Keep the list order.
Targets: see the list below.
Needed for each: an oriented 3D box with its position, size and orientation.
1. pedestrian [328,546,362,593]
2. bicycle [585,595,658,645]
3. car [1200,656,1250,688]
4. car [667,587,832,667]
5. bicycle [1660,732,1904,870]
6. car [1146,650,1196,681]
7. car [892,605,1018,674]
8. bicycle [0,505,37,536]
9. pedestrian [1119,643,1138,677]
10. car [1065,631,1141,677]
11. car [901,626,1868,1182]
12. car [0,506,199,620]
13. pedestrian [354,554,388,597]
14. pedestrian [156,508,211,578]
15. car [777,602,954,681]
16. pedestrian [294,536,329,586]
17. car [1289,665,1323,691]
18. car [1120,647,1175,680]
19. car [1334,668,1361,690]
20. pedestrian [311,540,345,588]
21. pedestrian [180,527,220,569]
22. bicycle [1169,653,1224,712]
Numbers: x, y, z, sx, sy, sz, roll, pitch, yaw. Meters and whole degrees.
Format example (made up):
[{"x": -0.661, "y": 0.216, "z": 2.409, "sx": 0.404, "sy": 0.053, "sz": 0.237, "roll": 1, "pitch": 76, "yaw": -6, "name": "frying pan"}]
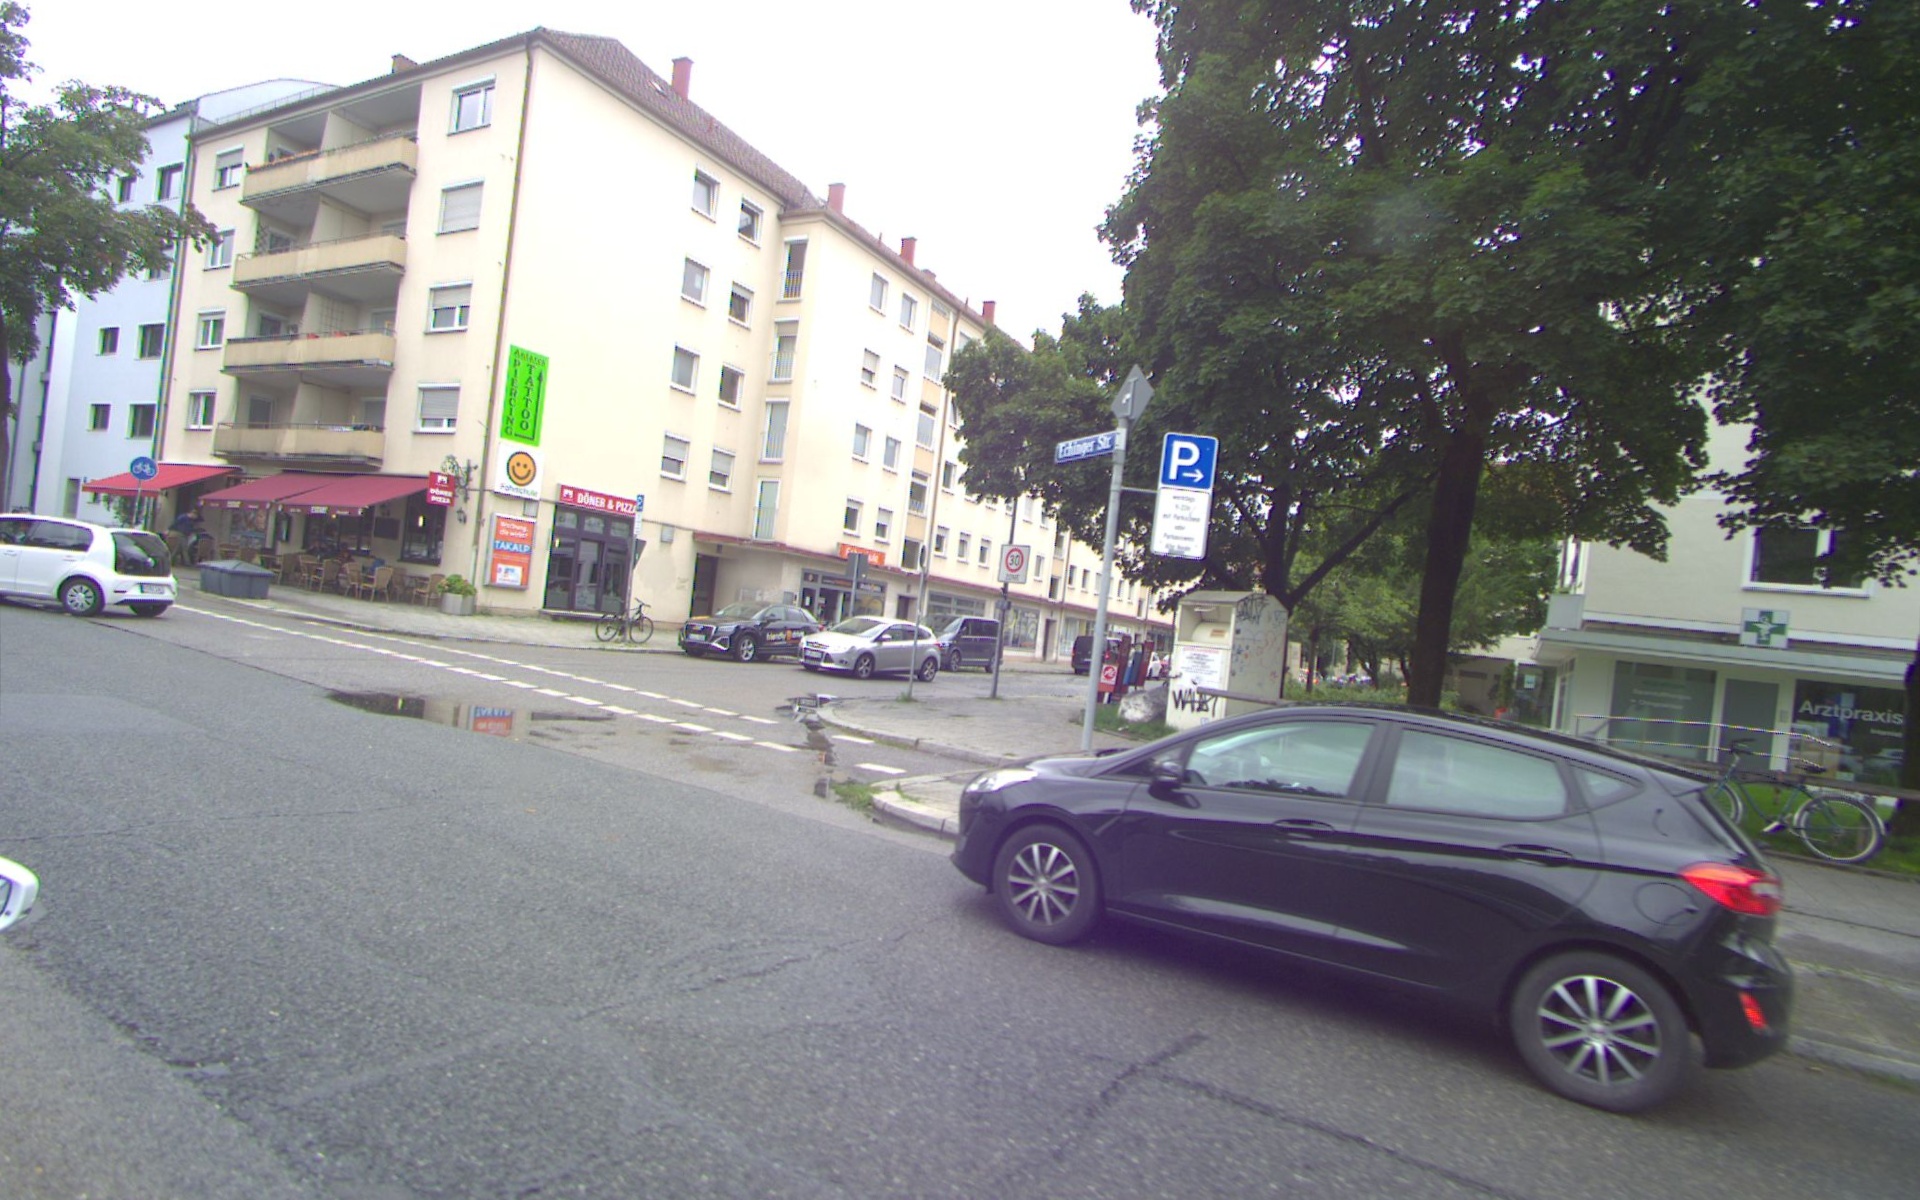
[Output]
[{"x": -17.194, "y": -0.862, "z": 28.143, "sx": 0.479, "sy": 1.229, "sz": 0.539, "roll": 7, "pitch": 0, "yaw": 31, "name": "pedestrian"}, {"x": -8.100, "y": 0.497, "z": 24.128, "sx": 0.545, "sy": 1.023, "sz": 1.541, "roll": 7, "pitch": -1, "yaw": 34, "name": "bicycle"}, {"x": 18.386, "y": 5.029, "z": 69.726, "sx": 1.966, "sy": 1.806, "sz": 4.994, "roll": 7, "pitch": -2, "yaw": 30, "name": "car"}, {"x": -5.121, "y": 0.720, "z": 24.954, "sx": 1.701, "sy": 1.537, "sz": 3.933, "roll": 7, "pitch": -1, "yaw": 30, "name": "car"}, {"x": 8.425, "y": 2.034, "z": 10.412, "sx": 1.822, "sy": 1.027, "sz": 0.448, "roll": 6, "pitch": 0, "yaw": 32, "name": "bicycle"}, {"x": 11.965, "y": 3.721, "z": 56.933, "sx": 1.573, "sy": 1.459, "sz": 3.764, "roll": 7, "pitch": -1, "yaw": 30, "name": "car"}, {"x": -0.066, "y": 1.406, "z": 34.690, "sx": 1.966, "sy": 1.907, "sz": 4.994, "roll": 7, "pitch": -1, "yaw": 30, "name": "car"}, {"x": -37.654, "y": -3.178, "z": 40.151, "sx": 2.159, "sy": 1.061, "sz": 0.621, "roll": 6, "pitch": 3, "yaw": 32, "name": "bicycle"}, {"x": 8.033, "y": 2.866, "z": 48.026, "sx": 0.486, "sy": 1.551, "sz": 0.733, "roll": 7, "pitch": 0, "yaw": 31, "name": "pedestrian"}, {"x": 6.887, "y": 2.639, "z": 48.094, "sx": 2.117, "sy": 1.806, "sz": 4.999, "roll": 7, "pitch": -1, "yaw": 25, "name": "car"}, {"x": 1.835, "y": 1.166, "z": 5.229, "sx": 3.890, "sy": 1.494, "sz": 1.647, "roll": 7, "pitch": -1, "yaw": 31, "name": "car"}, {"x": -14.692, "y": -0.652, "z": 16.201, "sx": 3.375, "sy": 1.507, "sz": 1.691, "roll": 7, "pitch": -1, "yaw": -6, "name": "car"}, {"x": -15.997, "y": -0.662, "z": 27.329, "sx": 0.479, "sy": 1.066, "sz": 0.539, "roll": 7, "pitch": 0, "yaw": 31, "name": "pedestrian"}, {"x": -23.540, "y": -1.725, "z": 30.511, "sx": 0.747, "sy": 1.952, "sz": 0.871, "roll": 7, "pitch": 0, "yaw": 15, "name": "pedestrian"}, {"x": -2.209, "y": 1.067, "z": 24.562, "sx": 1.968, "sy": 1.459, "sz": 4.212, "roll": 6, "pitch": -2, "yaw": 34, "name": "car"}, {"x": -18.998, "y": -1.147, "z": 29.467, "sx": 0.543, "sy": 1.355, "sz": 0.539, "roll": 7, "pitch": 0, "yaw": 30, "name": "pedestrian"}, {"x": 25.320, "y": 5.705, "z": 73.554, "sx": 1.573, "sy": 1.638, "sz": 3.764, "roll": 7, "pitch": -1, "yaw": 30, "name": "car"}, {"x": 9.988, "y": 3.383, "z": 53.445, "sx": 1.573, "sy": 1.459, "sz": 3.764, "roll": 7, "pitch": -1, "yaw": 30, "name": "car"}, {"x": 34.288, "y": 7.018, "z": 89.031, "sx": 1.573, "sy": 1.638, "sz": 3.764, "roll": 7, "pitch": -1, "yaw": 30, "name": "car"}, {"x": -18.053, "y": -1.019, "z": 28.725, "sx": 0.478, "sy": 1.283, "sz": 0.539, "roll": 7, "pitch": 0, "yaw": 30, "name": "pedestrian"}, {"x": -24.042, "y": -1.645, "z": 31.822, "sx": 0.636, "sy": 1.177, "sz": 0.744, "roll": 7, "pitch": -1, "yaw": 31, "name": "pedestrian"}, {"x": 5.223, "y": 1.827, "z": 22.197, "sx": 0.687, "sy": 1.170, "sz": 1.472, "roll": 7, "pitch": -1, "yaw": 29, "name": "bicycle"}]
